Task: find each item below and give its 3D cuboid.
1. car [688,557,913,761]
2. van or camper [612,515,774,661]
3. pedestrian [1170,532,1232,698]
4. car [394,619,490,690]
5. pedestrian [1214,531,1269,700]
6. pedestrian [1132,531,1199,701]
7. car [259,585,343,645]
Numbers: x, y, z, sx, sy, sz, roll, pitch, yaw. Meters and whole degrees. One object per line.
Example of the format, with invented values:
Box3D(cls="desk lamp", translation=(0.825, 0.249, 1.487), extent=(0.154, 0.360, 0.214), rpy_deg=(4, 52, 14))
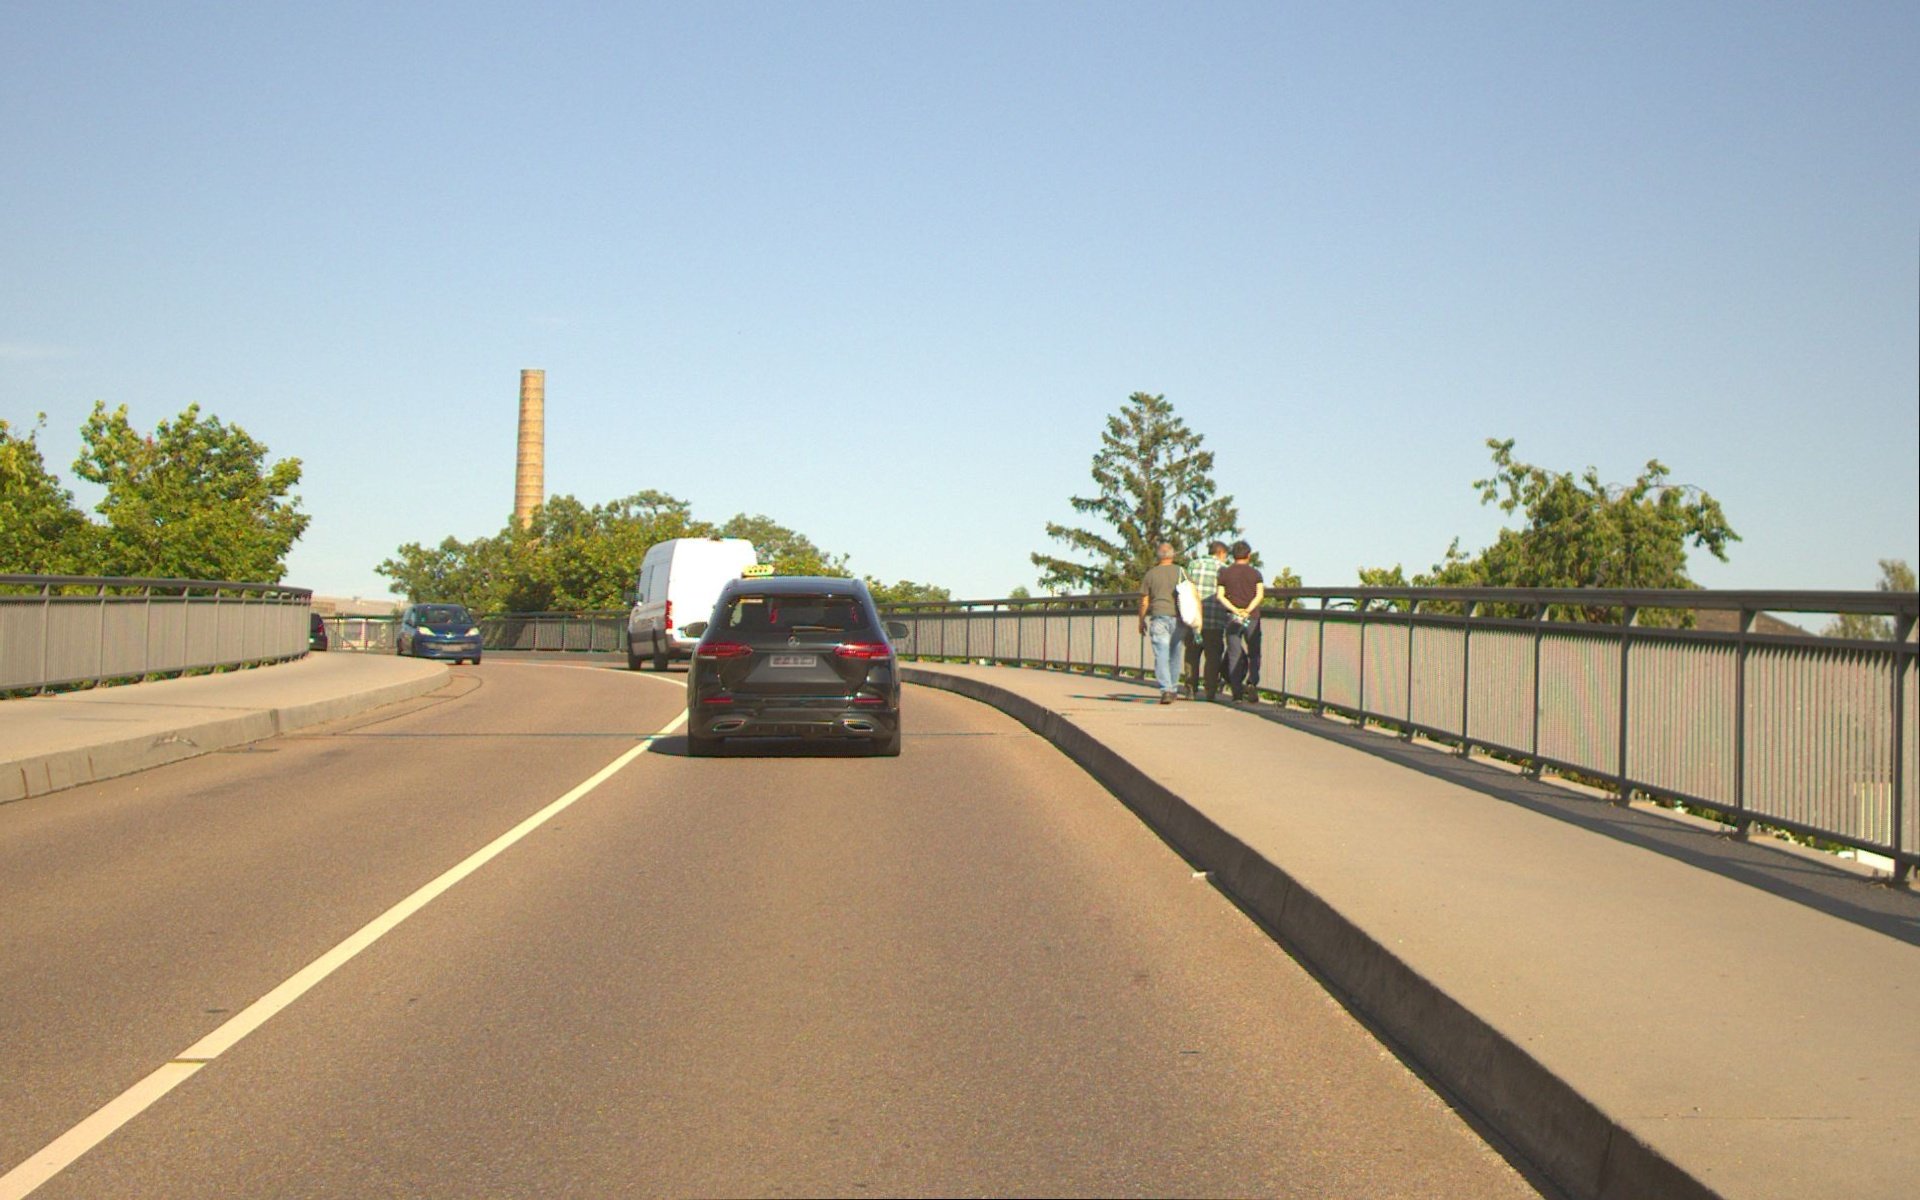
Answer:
Box3D(cls="car", translation=(-1.458, 0.459, 30.060), extent=(1.769, 1.587, 3.990), rpy_deg=(2, 1, -5))
Box3D(cls="van or camper", translation=(-5.573, -0.173, 70.823), extent=(2.225, 2.730, 7.081), rpy_deg=(2, -2, -13))
Box3D(cls="pedestrian", translation=(2.581, 0.172, 36.877), extent=(0.549, 1.744, 0.738), rpy_deg=(2, -2, -1))
Box3D(cls="car", translation=(-12.434, 1.289, 82.688), extent=(1.769, 1.587, 3.989), rpy_deg=(2, 0, -2))
Box3D(cls="pedestrian", translation=(2.952, 0.166, 36.094), extent=(0.471, 1.744, 0.654), rpy_deg=(2, -2, -1))
Box3D(cls="pedestrian", translation=(2.145, 0.174, 35.957), extent=(0.602, 1.744, 0.717), rpy_deg=(2, -2, -1))
Box3D(cls="car", translation=(-21.332, 0.463, 111.195), extent=(1.847, 1.792, 4.001), rpy_deg=(0, 2, -23))
